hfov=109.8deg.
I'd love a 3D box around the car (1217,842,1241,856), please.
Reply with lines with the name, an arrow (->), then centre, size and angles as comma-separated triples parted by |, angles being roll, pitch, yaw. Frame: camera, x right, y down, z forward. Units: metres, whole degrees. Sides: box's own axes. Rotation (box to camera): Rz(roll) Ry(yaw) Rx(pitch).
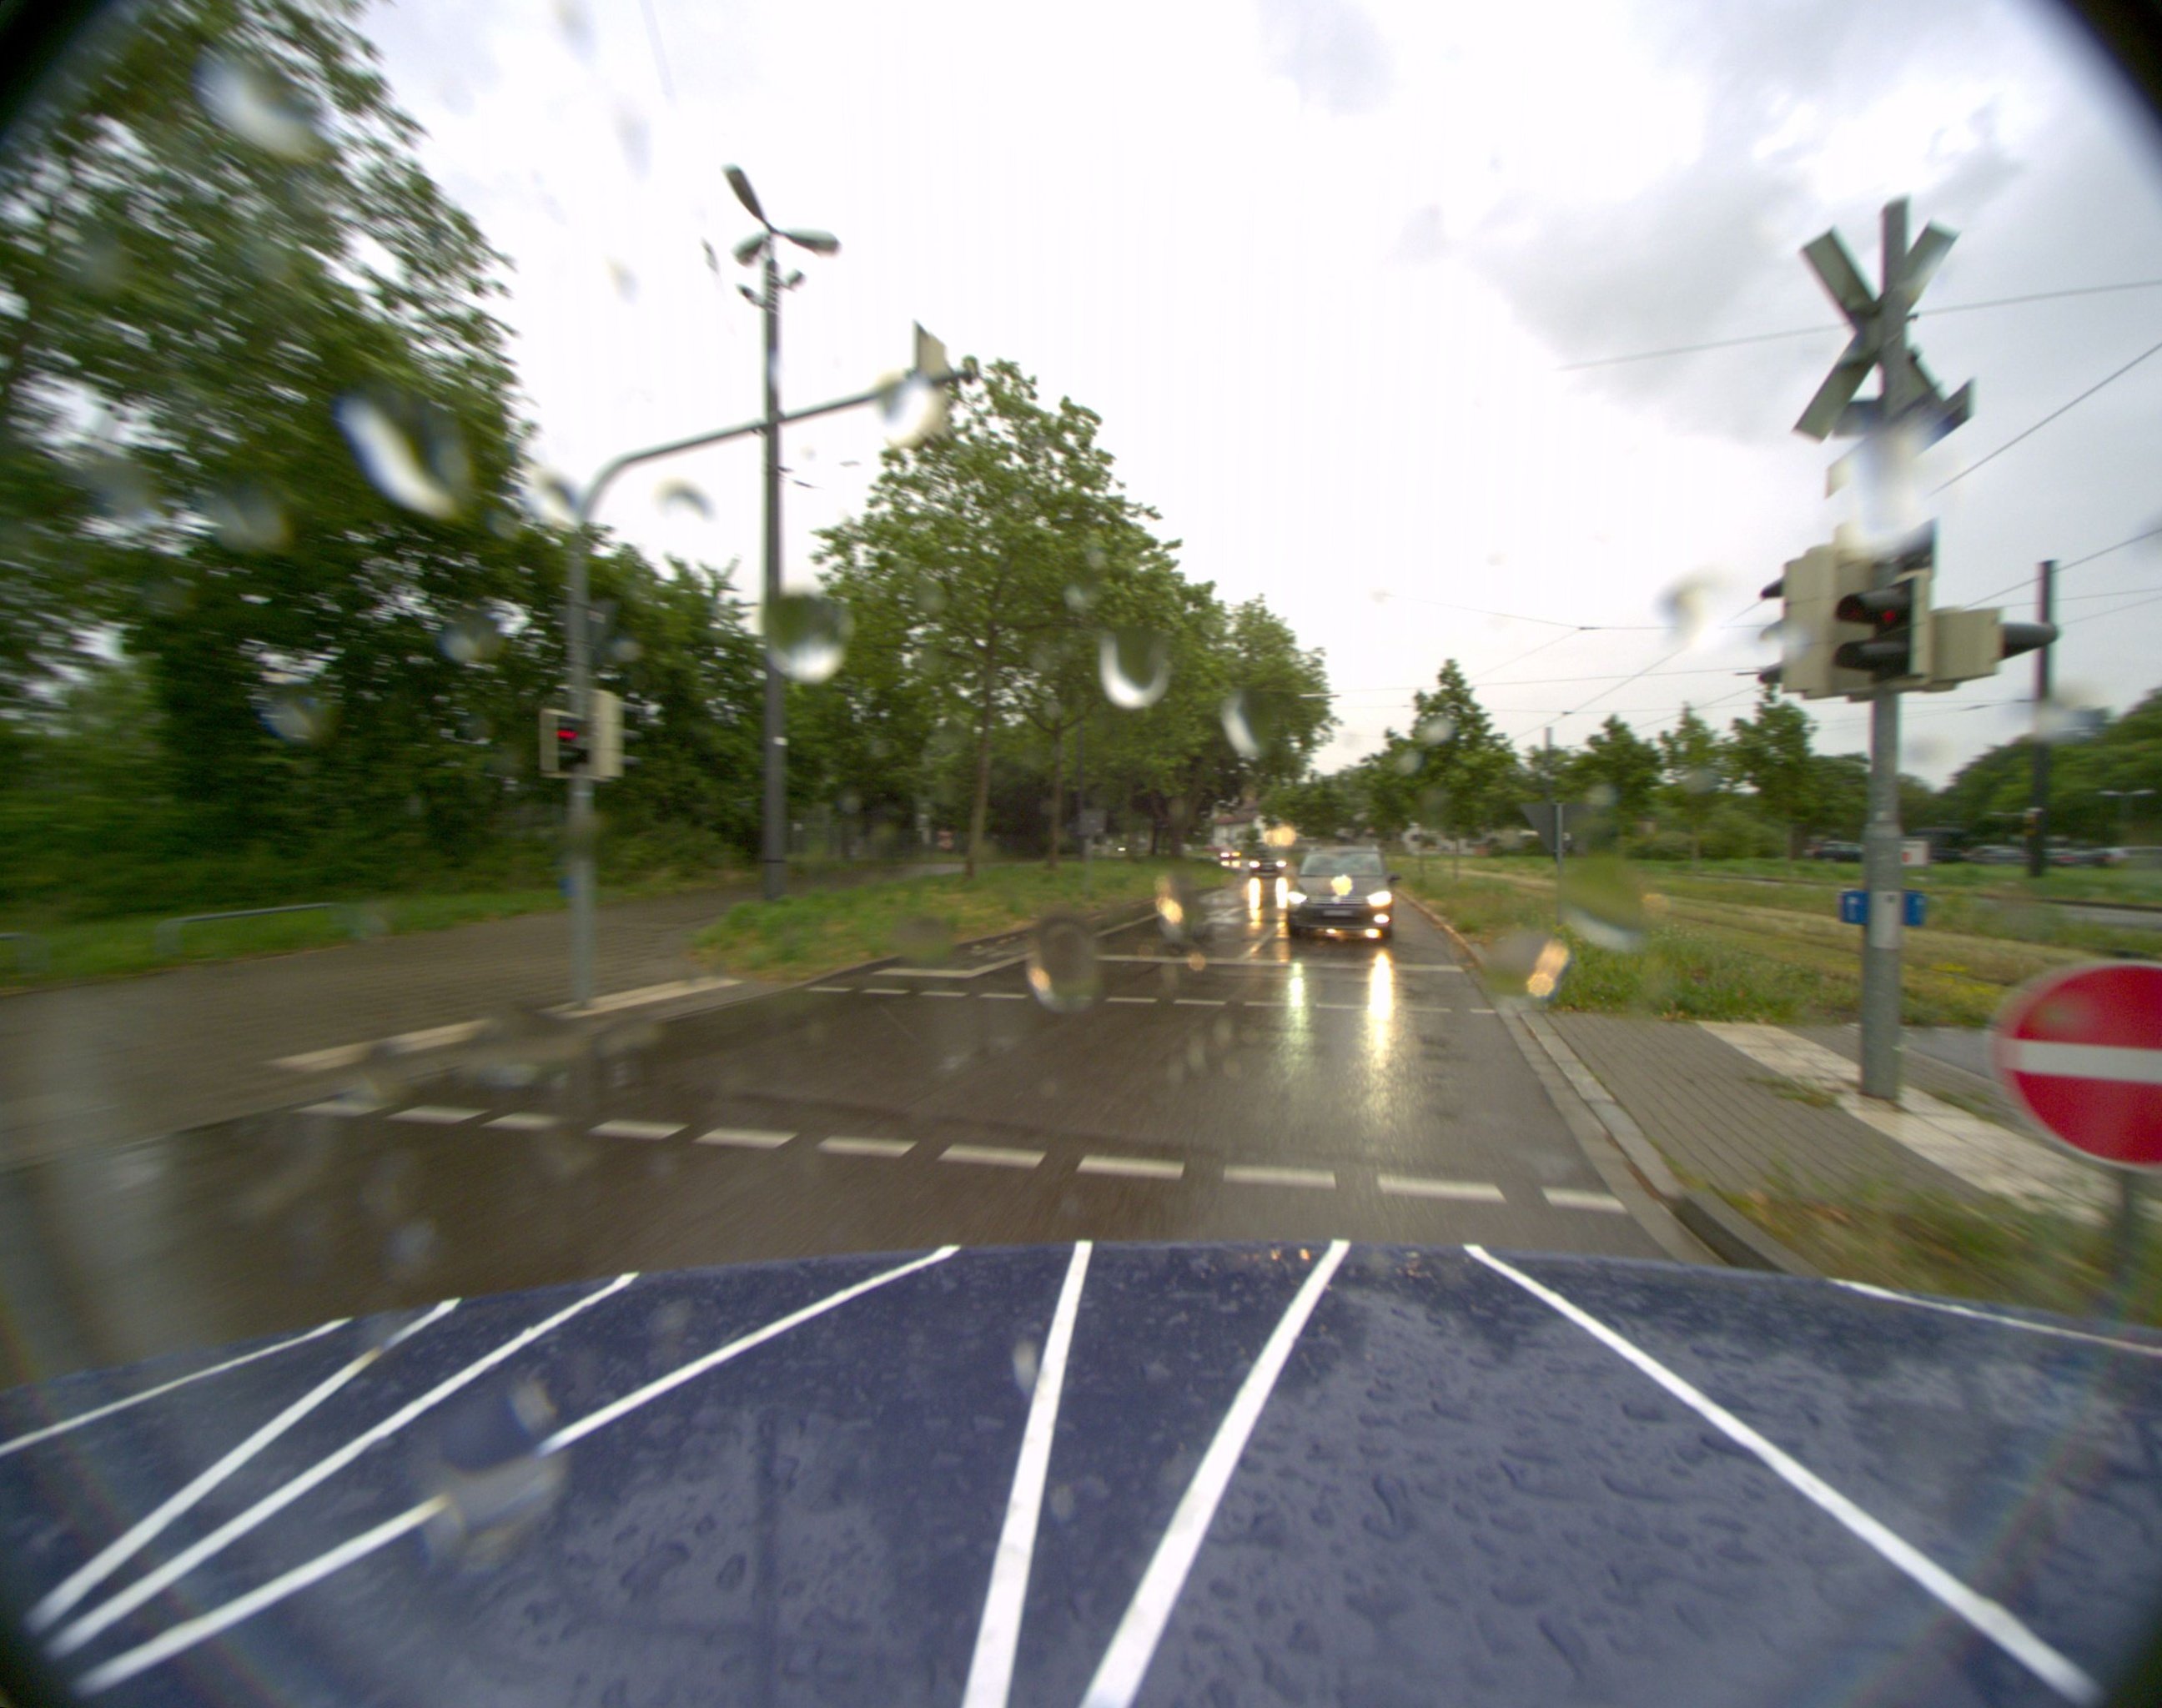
car -> 15.676, -0.555, 80.711 | 1.788, 1.373, 3.864 | -1, 1, 0

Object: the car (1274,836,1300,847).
car -> 36.711, -2.285, 135.179 | 4.002, 1.791, 1.890 | -2, 0, -15

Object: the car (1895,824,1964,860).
car -> 49.423, -0.714, 44.363 | 2.306, 2.002, 5.127 | 0, 1, 44

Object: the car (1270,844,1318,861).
car -> 19.509, -0.152, 69.737 | 4.039, 1.412, 1.676 | -1, 1, 9

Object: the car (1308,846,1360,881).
car -> 11.006, 0.372, 33.234 | 1.786, 1.396, 3.797 | -1, 1, 13

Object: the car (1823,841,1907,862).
car -> 56.326, -0.166, 54.679 | 1.787, 1.474, 4.171 | -2, 1, -44

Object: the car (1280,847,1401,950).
car -> 5.010, 0.712, 14.598 | 1.863, 1.592, 4.531 | -1, 1, 20

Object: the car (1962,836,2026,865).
car -> 51.798, -0.233, 43.195 | 1.751, 1.522, 4.858 | 0, 1, 44

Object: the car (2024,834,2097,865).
car -> 53.309, -0.260, 41.443 | 5.025, 1.564, 2.056 | -2, 1, -42

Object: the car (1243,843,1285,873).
car -> 10.403, 0.193, 43.442 | 1.871, 1.608, 3.810 | -1, 1, 6
